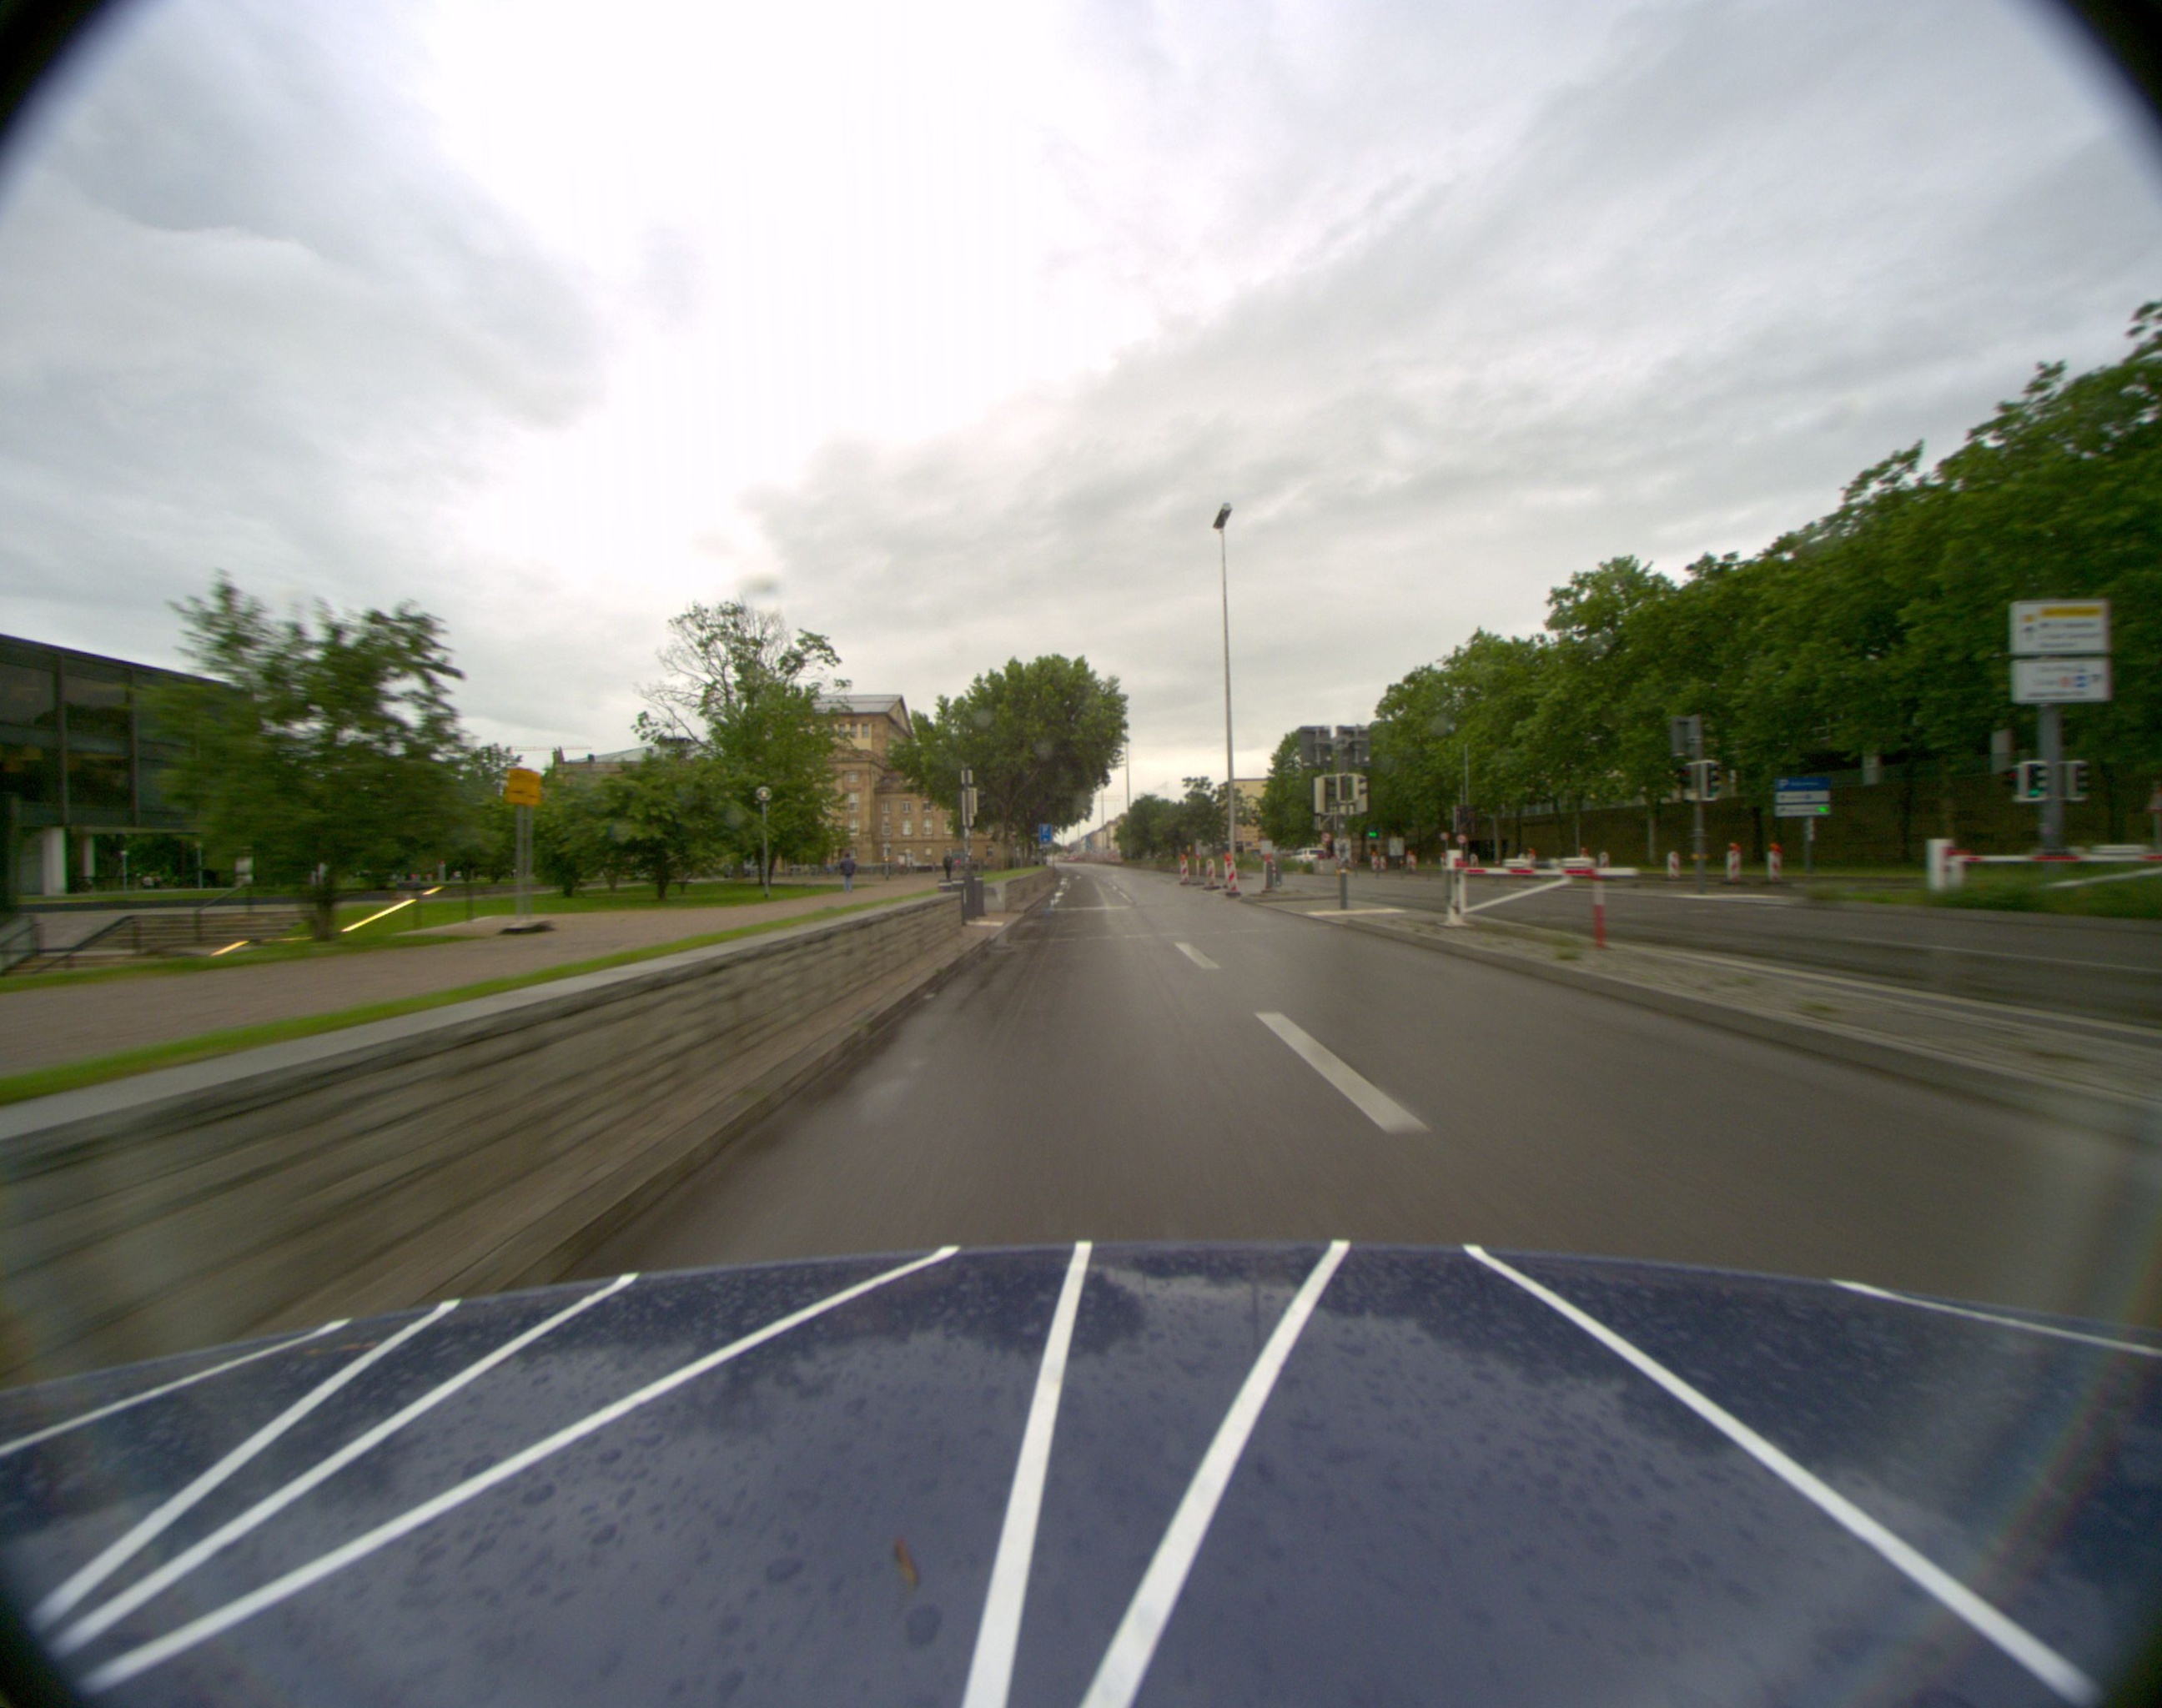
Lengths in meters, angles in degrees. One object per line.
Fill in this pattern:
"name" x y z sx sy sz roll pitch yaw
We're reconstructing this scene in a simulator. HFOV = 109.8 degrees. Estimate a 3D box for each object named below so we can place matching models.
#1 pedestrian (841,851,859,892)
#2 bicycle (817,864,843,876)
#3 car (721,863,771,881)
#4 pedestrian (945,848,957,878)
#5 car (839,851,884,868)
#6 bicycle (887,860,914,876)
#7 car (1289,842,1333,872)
"pedestrian" -9.590 0.723 31.532 0.671 1.655 0.587 -1 1 -17
"bicycle" -16.995 1.076 51.372 1.627 0.791 0.509 -2 0 -21
"car" -34.410 1.832 78.135 4.296 1.584 1.956 -3 1 -3
"pedestrian" -7.811 0.564 45.746 0.595 1.764 0.586 -3 1 -9
"car" -22.486 0.544 77.914 3.948 1.584 1.956 -3 1 -3
"bicycle" -13.110 0.982 55.283 1.758 1.059 0.827 -3 1 -21
"car" 18.682 0.253 61.880 1.999 2.285 4.227 -3 1 -3
